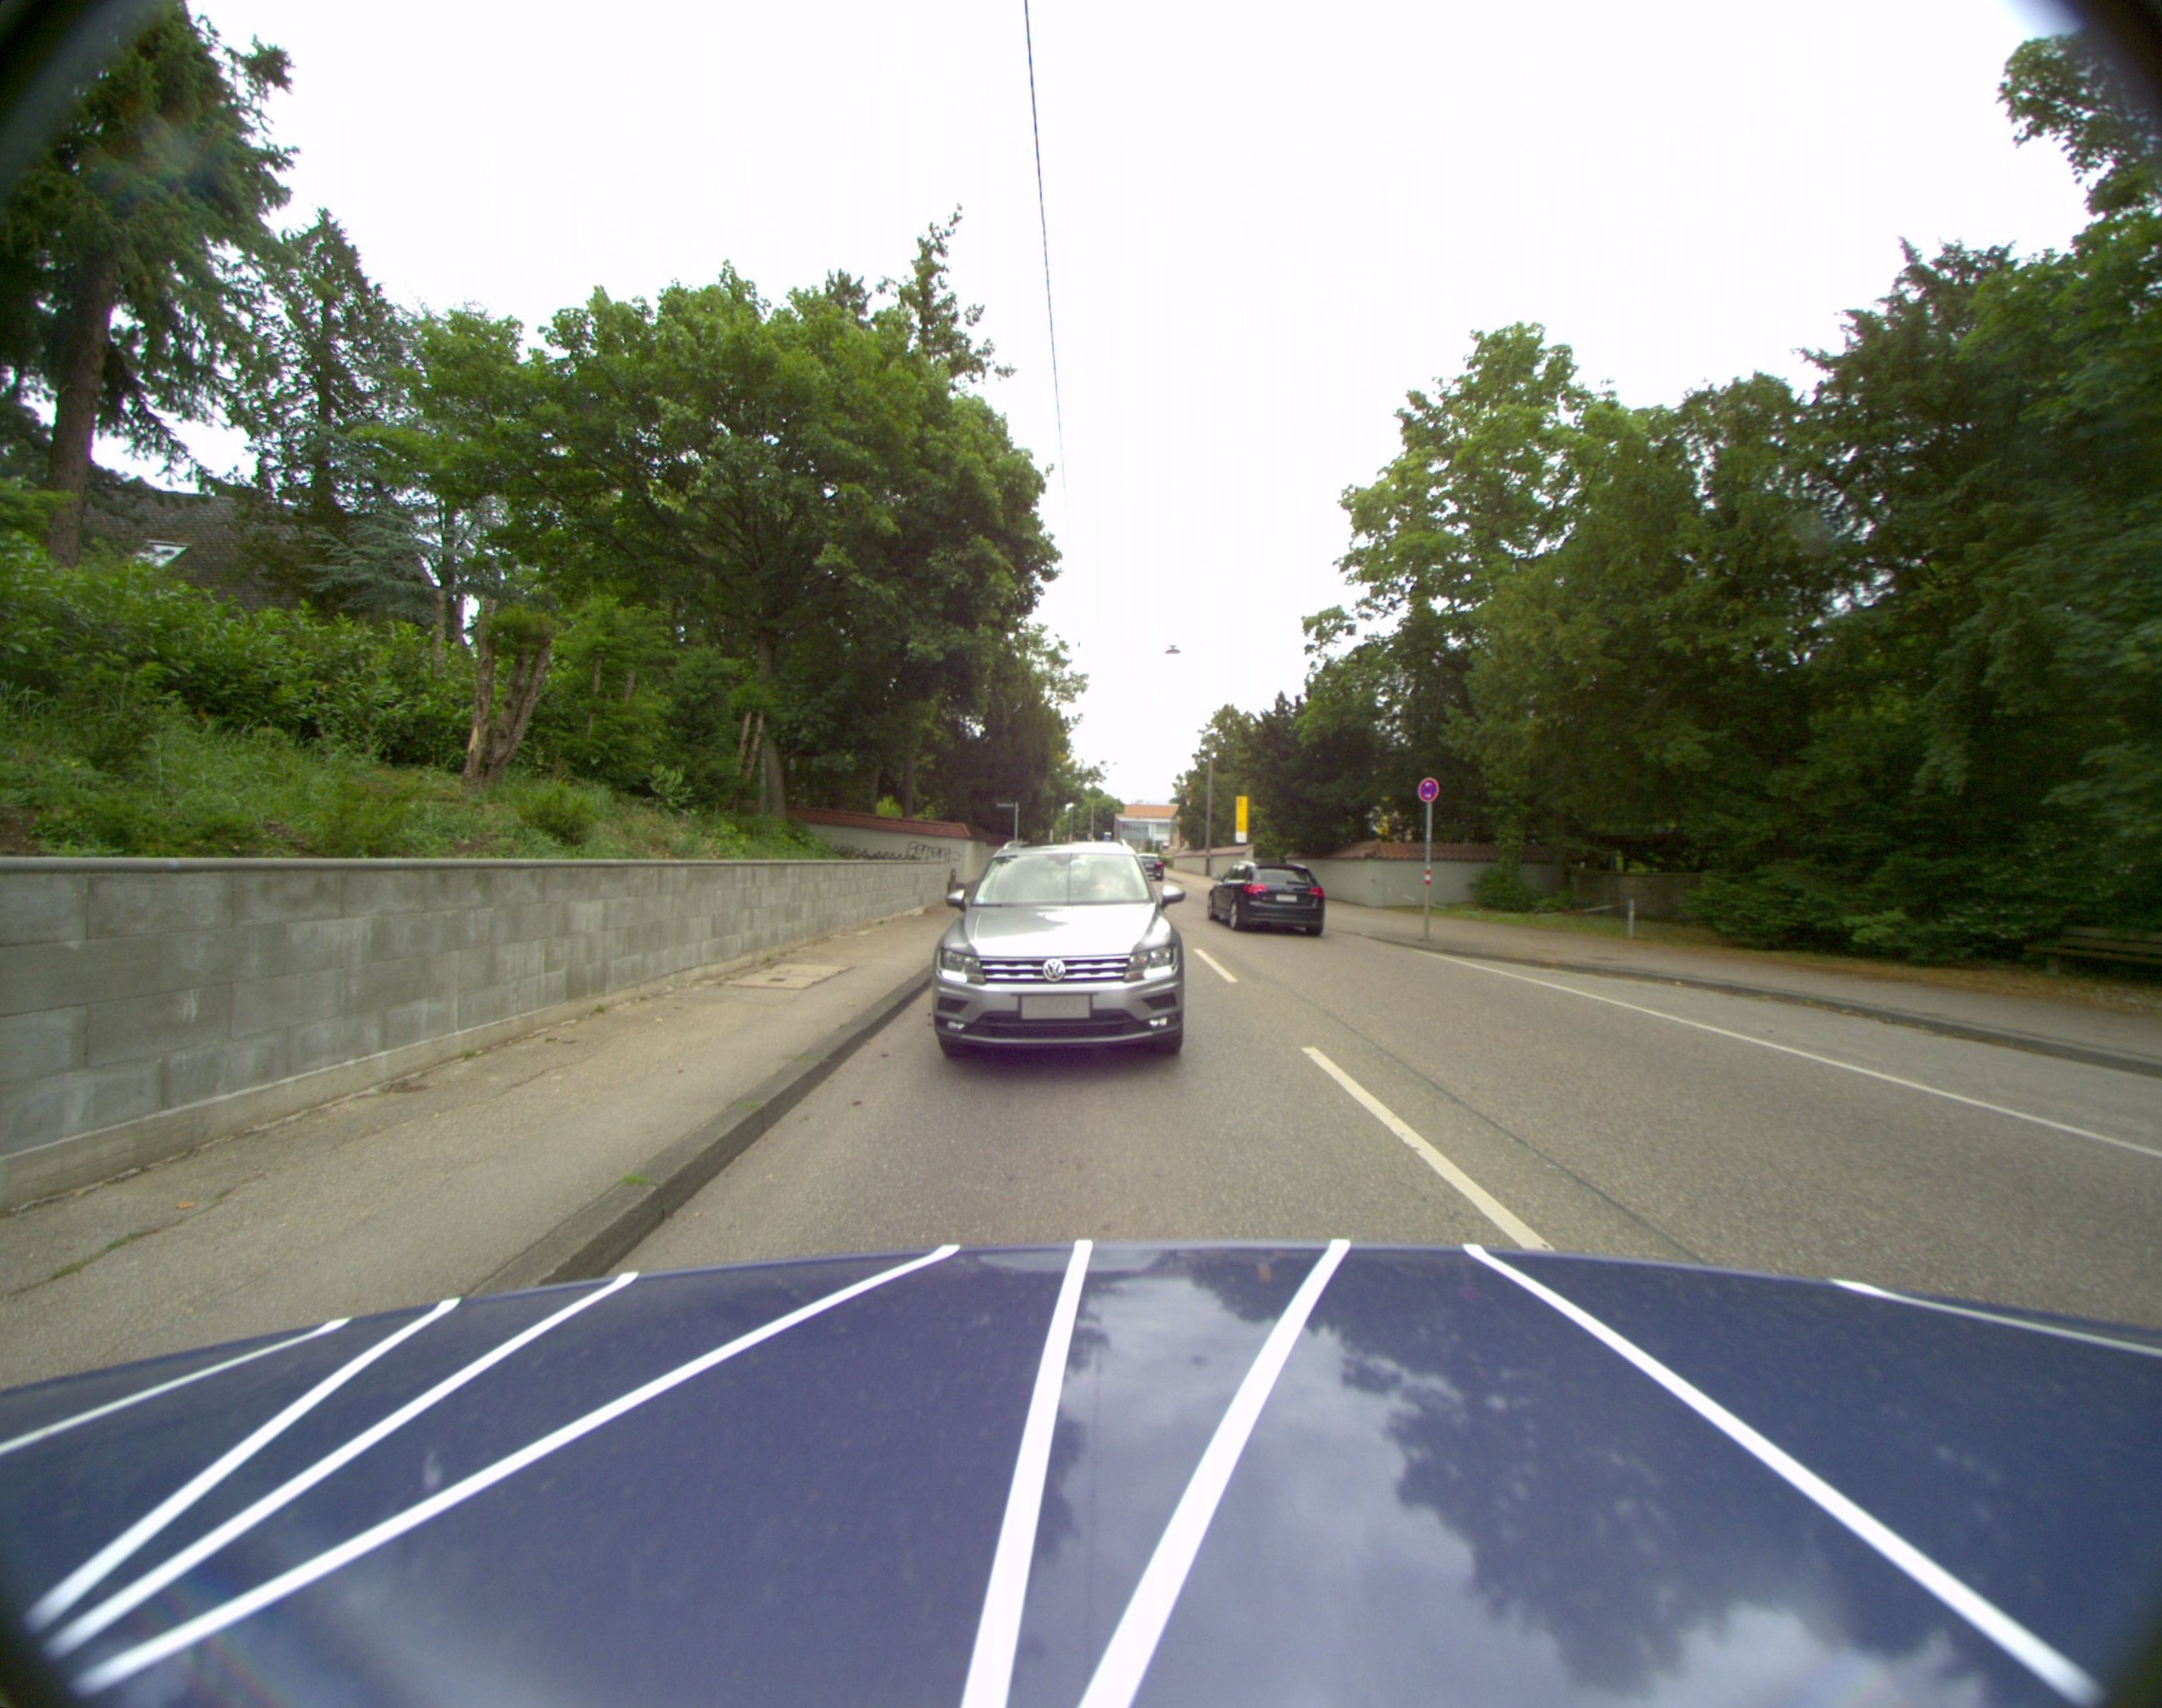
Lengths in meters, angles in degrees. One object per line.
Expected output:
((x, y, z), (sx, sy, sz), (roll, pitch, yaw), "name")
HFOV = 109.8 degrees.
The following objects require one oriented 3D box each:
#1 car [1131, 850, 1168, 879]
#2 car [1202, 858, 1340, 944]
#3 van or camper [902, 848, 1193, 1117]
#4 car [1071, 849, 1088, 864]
((4.122, 0.604, 46.591), (1.864, 1.648, 4.306), (3, 0, 1), "car")
((3.820, 0.868, 16.011), (1.864, 1.445, 4.110), (3, 0, 1), "car")
((-0.185, 0.788, 6.820), (1.800, 1.663, 4.198), (0, 0, 1), "van or camper")
((-0.128, 0.269, 85.705), (1.789, 1.644, 4.120), (3, 0, 1), "car")
